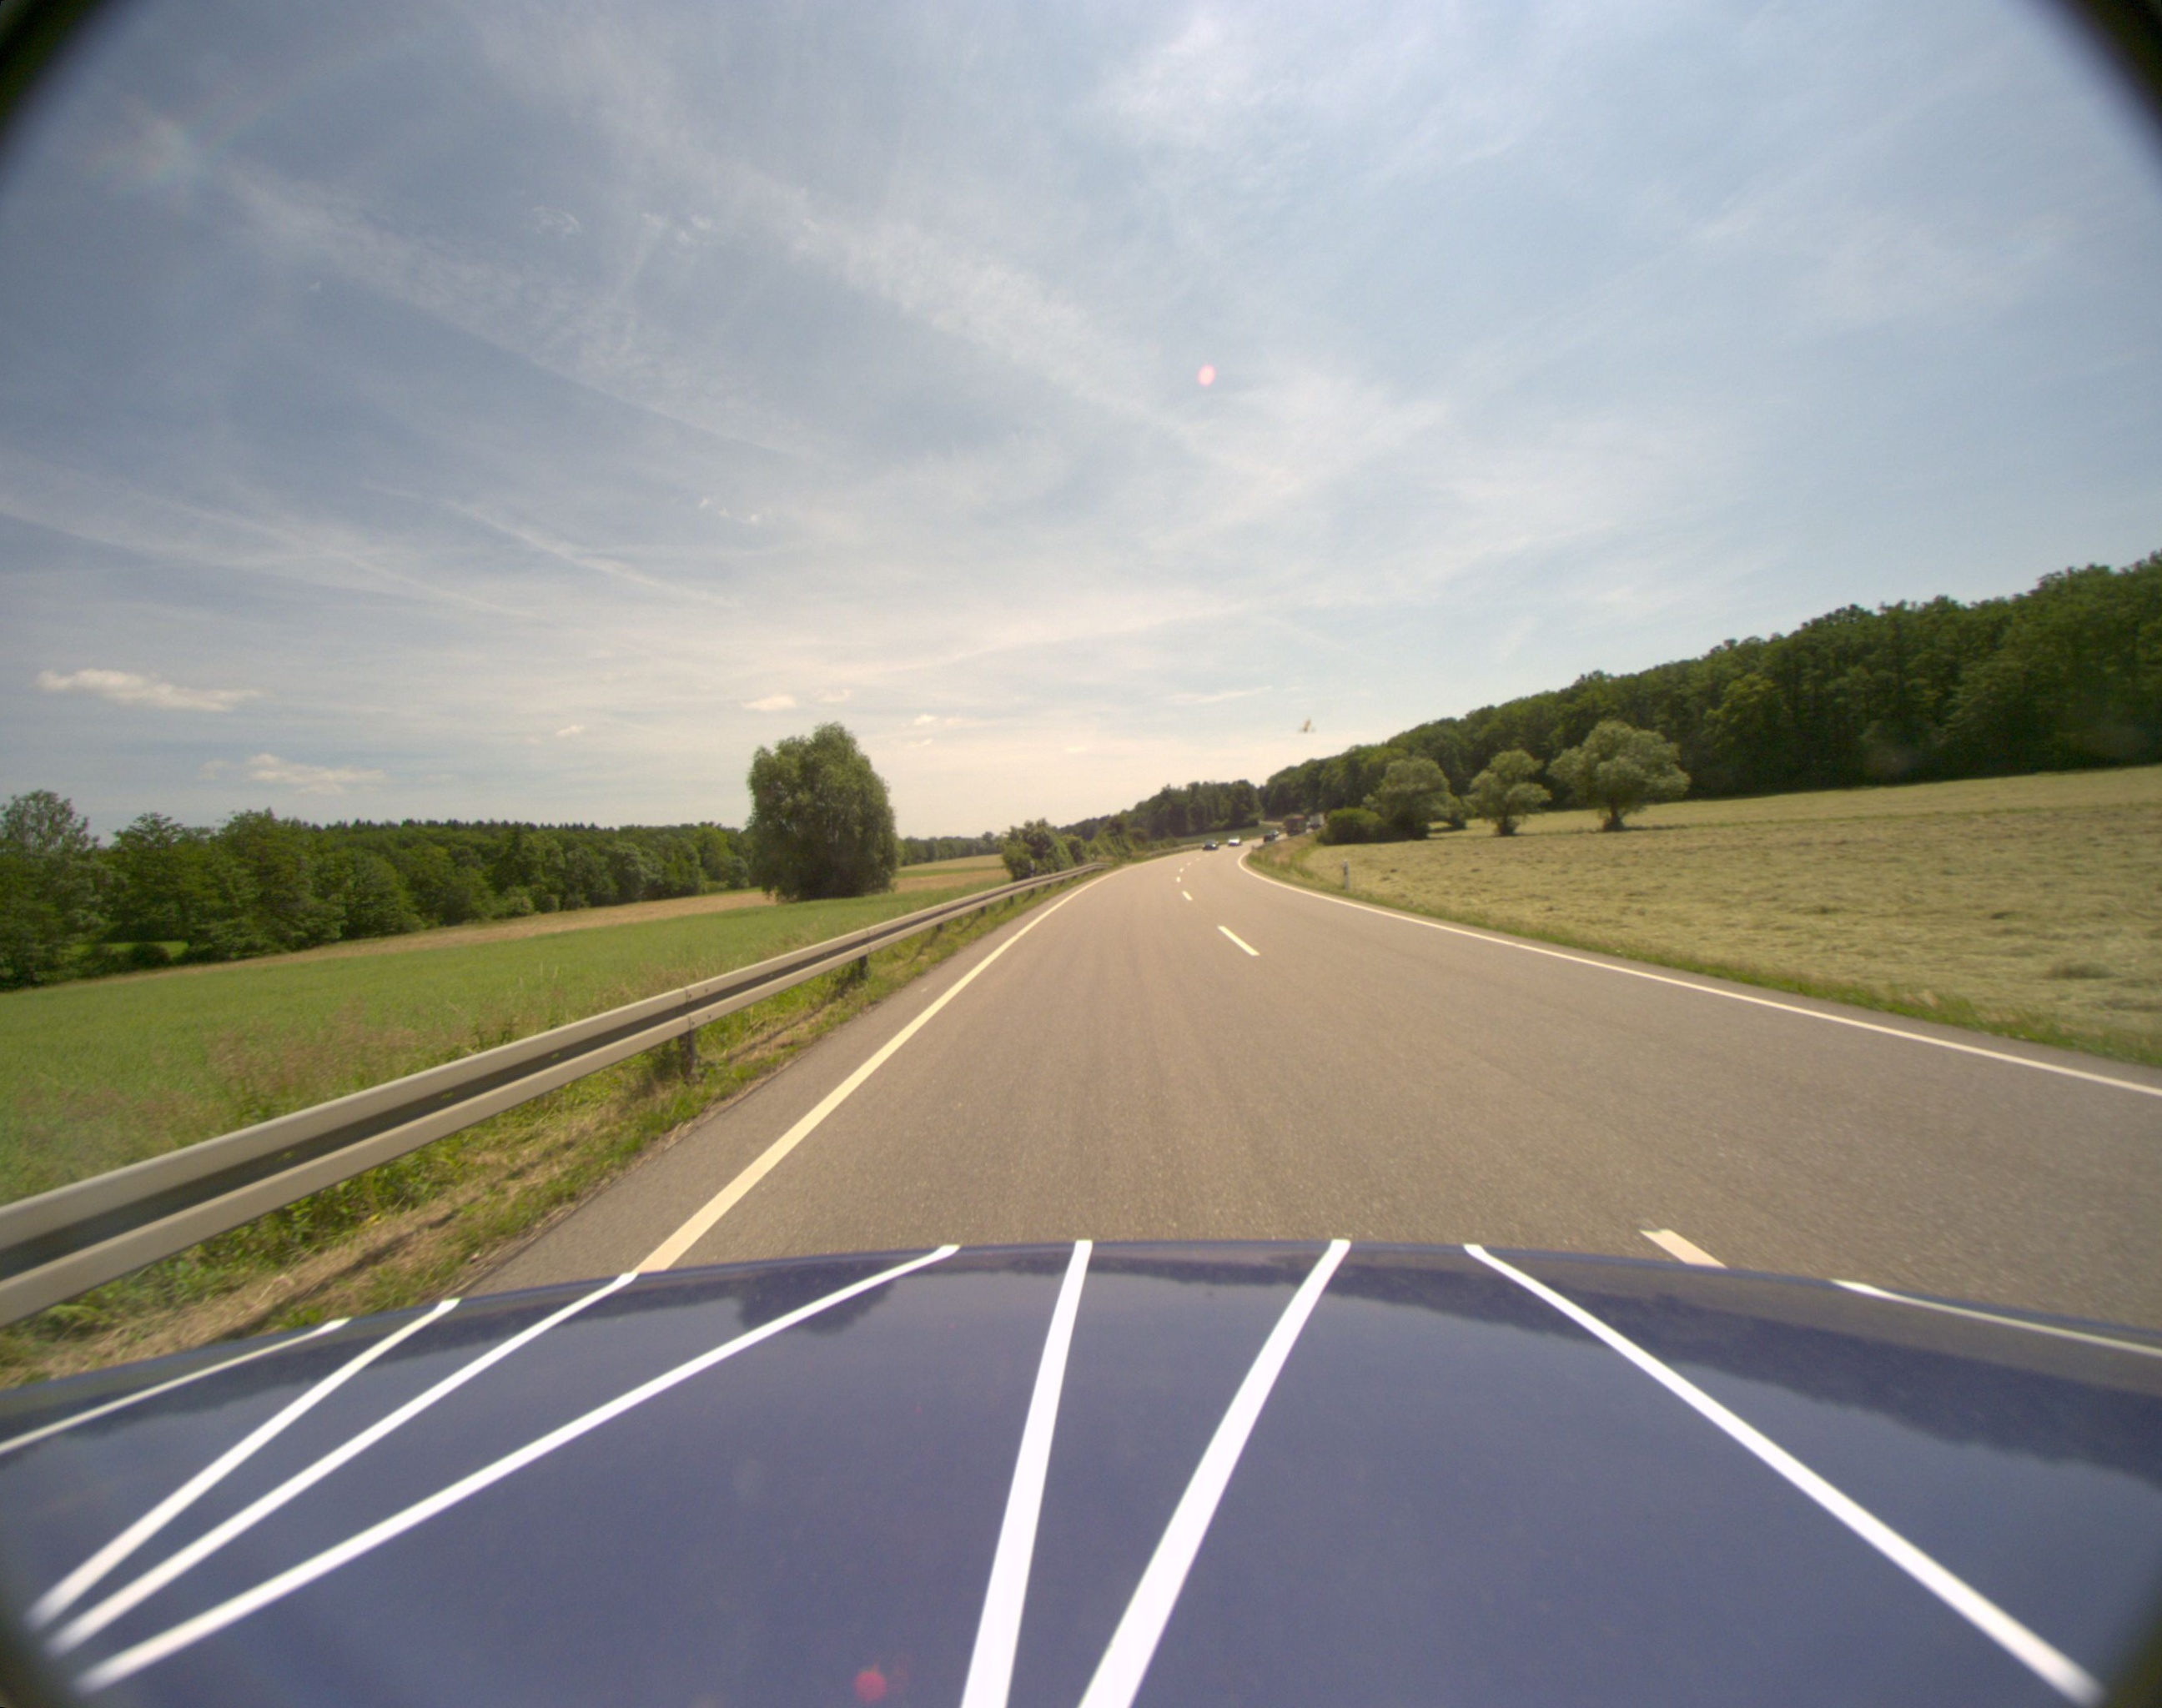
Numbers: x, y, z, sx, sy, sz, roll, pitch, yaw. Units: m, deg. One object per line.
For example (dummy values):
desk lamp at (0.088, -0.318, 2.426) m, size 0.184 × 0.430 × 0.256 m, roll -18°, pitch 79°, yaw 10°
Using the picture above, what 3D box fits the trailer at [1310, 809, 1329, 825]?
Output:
trailer at (67.410, -10.513, 214.821) m, size 3.376 × 4.377 × 13.762 m, roll -1°, pitch 3°, yaw 24°

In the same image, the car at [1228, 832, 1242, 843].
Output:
car at (24.358, -2.612, 120.064) m, size 1.619 × 1.428 × 3.446 m, roll -3°, pitch 2°, yaw 19°

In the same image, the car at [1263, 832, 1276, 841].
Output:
car at (33.142, -3.137, 133.571) m, size 1.702 × 1.461 × 4.205 m, roll -1°, pitch 2°, yaw 20°

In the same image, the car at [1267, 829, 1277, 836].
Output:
car at (42.172, -4.781, 167.335) m, size 1.619 × 1.428 × 3.447 m, roll -3°, pitch 2°, yaw 22°

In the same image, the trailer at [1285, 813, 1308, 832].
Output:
trailer at (48.848, -7.220, 171.752) m, size 3.244 × 4.127 × 14.460 m, roll -1°, pitch 2°, yaw 22°

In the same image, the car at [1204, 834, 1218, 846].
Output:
car at (17.630, -1.962, 103.089) m, size 1.620 × 1.428 × 3.445 m, roll -3°, pitch 2°, yaw 14°
